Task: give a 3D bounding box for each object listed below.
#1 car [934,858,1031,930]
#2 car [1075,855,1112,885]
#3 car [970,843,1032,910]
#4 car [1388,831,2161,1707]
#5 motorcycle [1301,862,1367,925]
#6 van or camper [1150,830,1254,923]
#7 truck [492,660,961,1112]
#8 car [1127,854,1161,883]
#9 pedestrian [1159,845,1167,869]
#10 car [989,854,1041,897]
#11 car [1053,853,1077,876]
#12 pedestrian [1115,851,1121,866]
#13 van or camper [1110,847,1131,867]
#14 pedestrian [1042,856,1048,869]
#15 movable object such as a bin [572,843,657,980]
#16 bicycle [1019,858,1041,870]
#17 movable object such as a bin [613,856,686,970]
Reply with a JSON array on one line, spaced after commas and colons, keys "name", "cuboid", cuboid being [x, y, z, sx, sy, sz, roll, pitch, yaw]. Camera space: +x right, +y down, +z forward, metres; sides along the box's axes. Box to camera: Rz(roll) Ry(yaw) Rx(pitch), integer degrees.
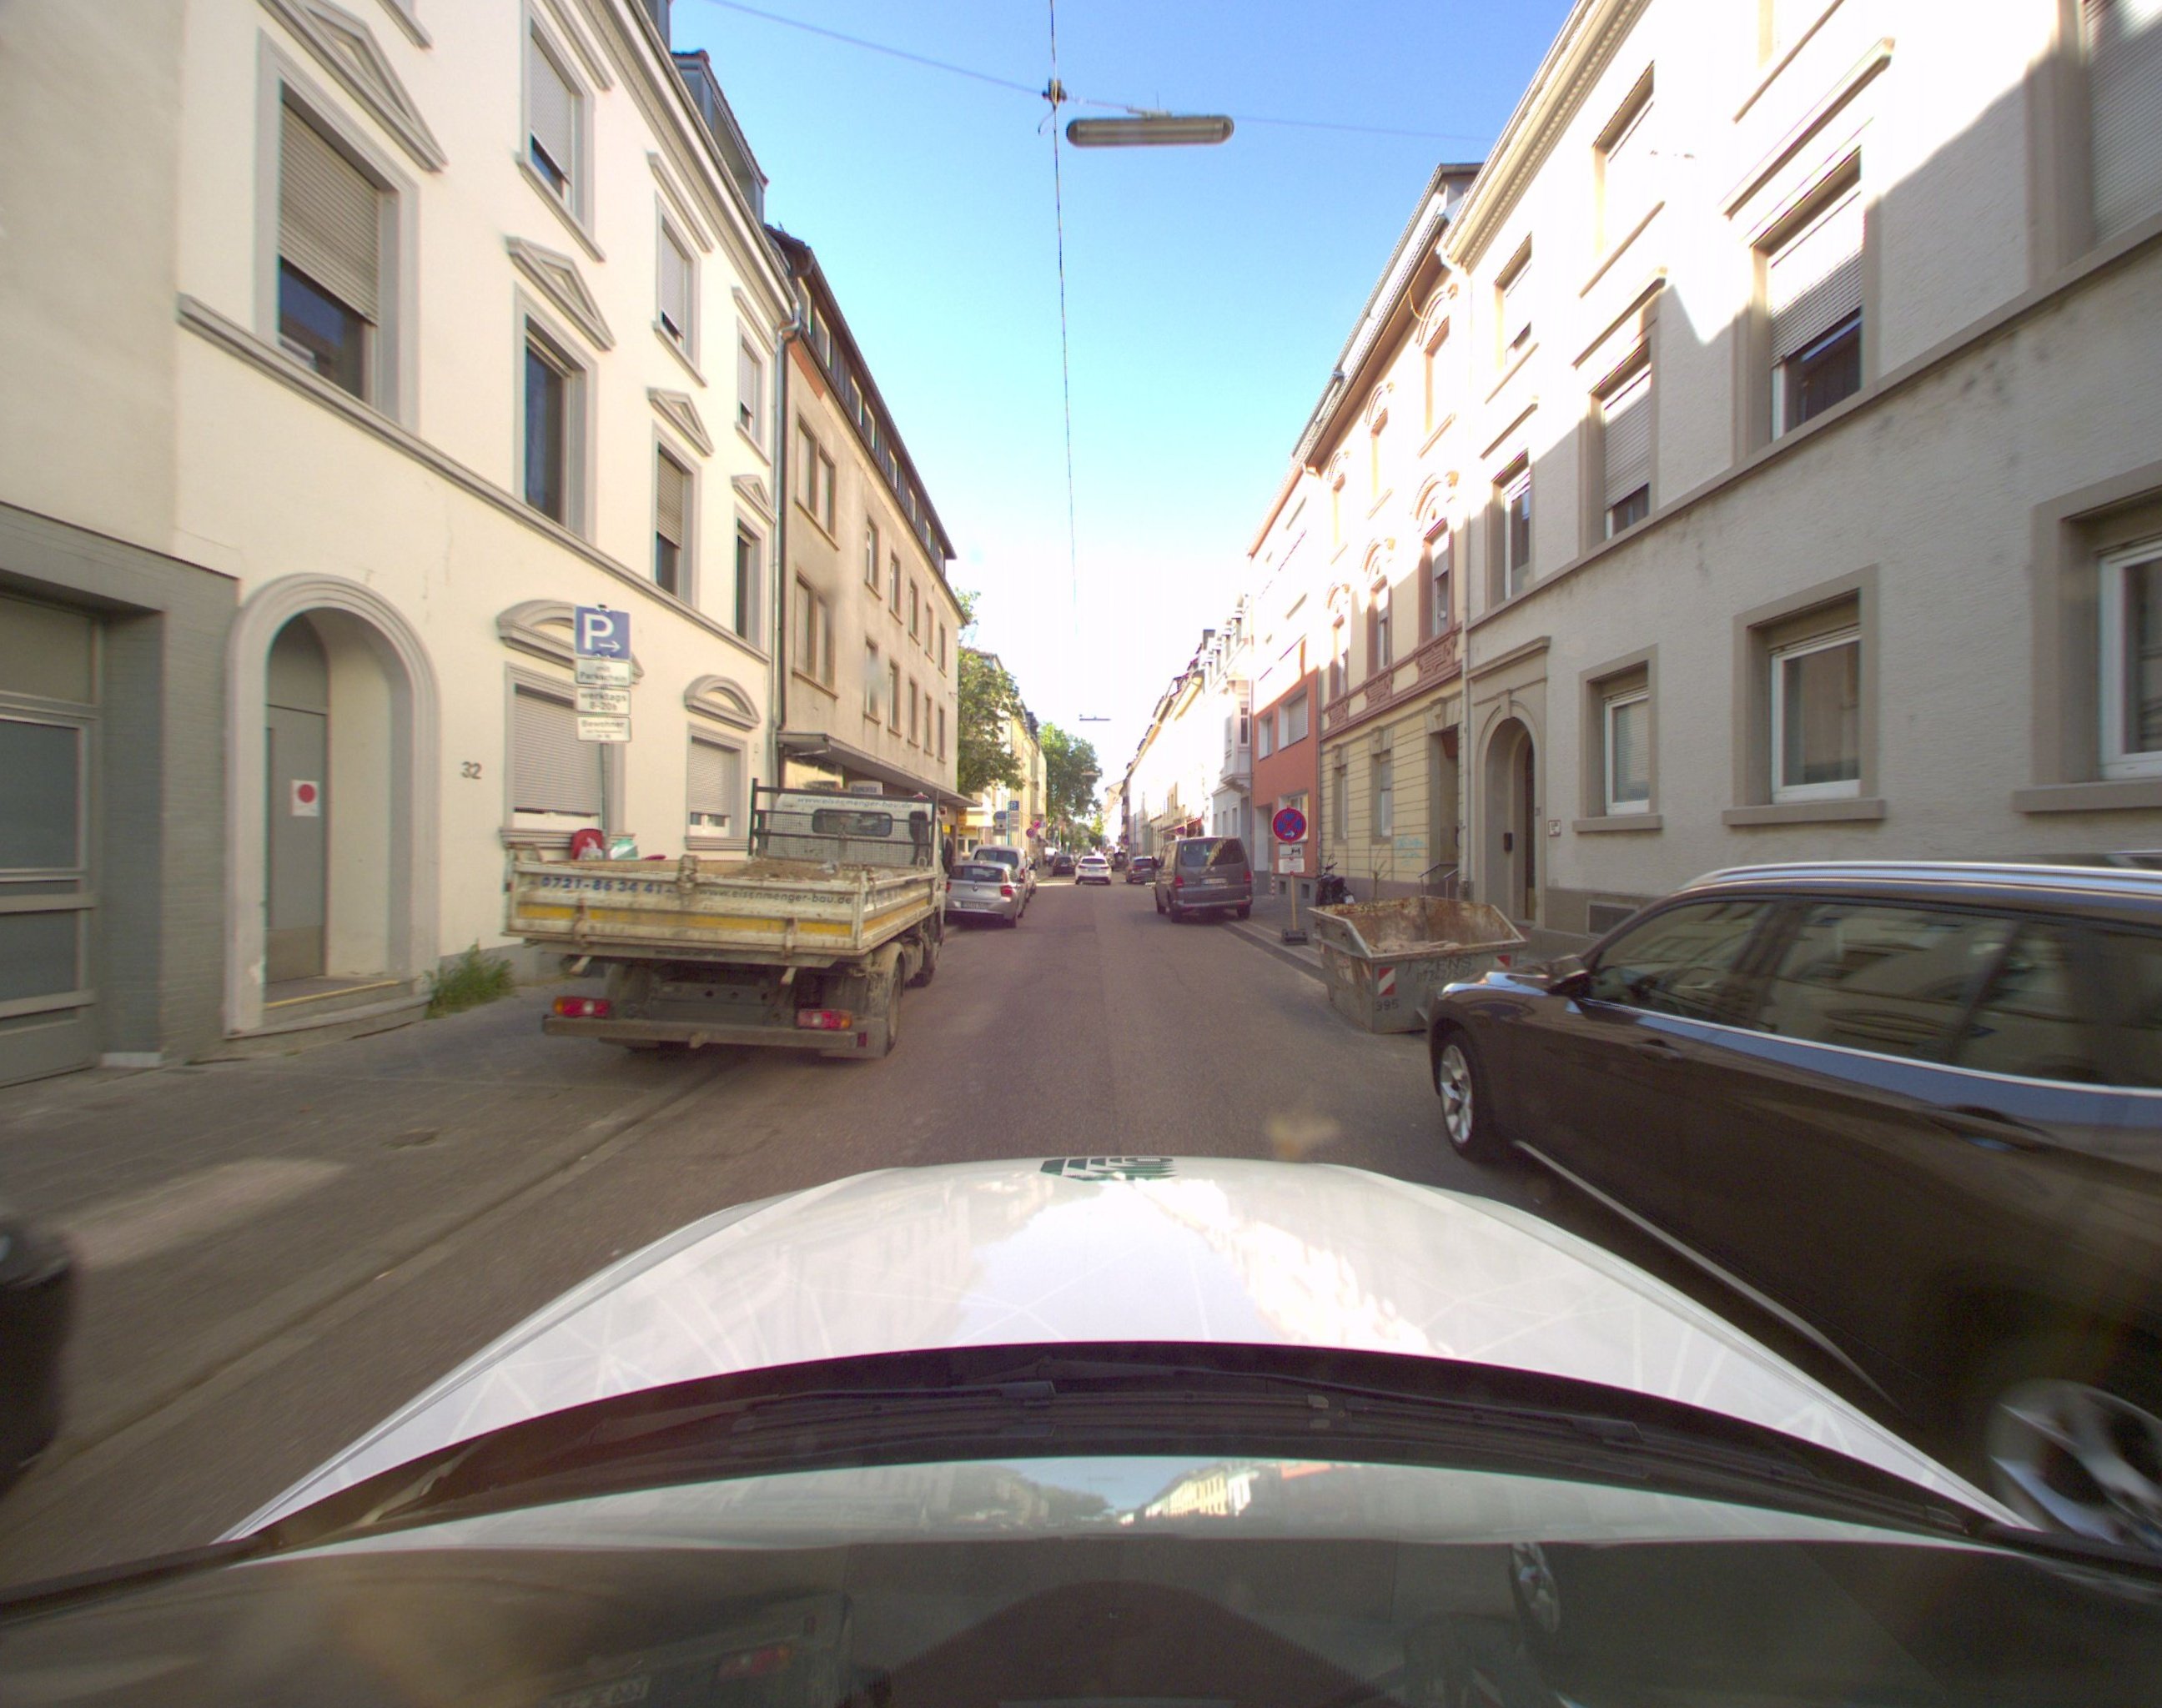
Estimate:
[{"name": "car", "cuboid": [-2.177, 0.843, 18.987, 1.753, 1.415, 3.998, -2, 0, -1]}, {"name": "car", "cuboid": [0.699, 0.776, 42.399, 1.827, 1.486, 4.058, 0, 0, 1]}, {"name": "car", "cuboid": [-2.355, 0.627, 24.838, 1.643, 1.867, 3.997, 0, 0, -2]}, {"name": "car", "cuboid": [2.714, 0.731, 2.759, 1.733, 1.577, 4.377, 0, 1, 0]}, {"name": "motorcycle", "cuboid": [5.467, 0.806, 17.768, 0.594, 1.186, 2.761, -5, 0, 2]}, {"name": "van or camper", "cuboid": [2.919, 0.524, 20.597, 1.770, 2.036, 4.567, -2, 0, -2]}, {"name": "truck", "cuboid": [-2.509, 0.202, 7.871, 2.153, 2.590, 6.240, -1, -1, -4]}, {"name": "car", "cuboid": [3.454, 0.774, 45.139, 1.641, 1.576, 3.679, 0, 0, 1]}, {"name": "pedestrian", "cuboid": [5.913, 0.246, 58.666, 0.524, 1.727, 0.492, -1, -2, 16]}, {"name": "car", "cuboid": [-2.492, 0.776, 31.606, 1.641, 1.576, 3.679, 0, 0, 1]}, {"name": "car", "cuboid": [-1.161, 0.755, 60.257, 1.619, 1.597, 3.580, 1, 0, 1]}, {"name": "pedestrian", "cuboid": [3.838, 0.459, 84.200, 0.625, 1.464, 0.575, -1, -1, 0]}, {"name": "van or camper", "cuboid": [3.948, 0.356, 82.777, 1.987, 1.926, 4.000, -1, -1, 1]}, {"name": "pedestrian", "cuboid": [-3.841, 0.909, 87.118, 0.625, 1.464, 0.575, -1, -1, 0]}, {"name": "movable object such as a bin", "cuboid": [-5.393, 0.646, 9.440, 0.637, 1.532, 0.587, 0, 0, 1]}, {"name": "bicycle", "cuboid": [-4.630, 0.928, 73.917, 1.962, 1.115, 0.507, 1, 0, -34]}, {"name": "movable object such as a bin", "cuboid": [-5.321, 0.711, 10.074, 0.559, 1.360, 0.632, 0, 0, 1]}]
